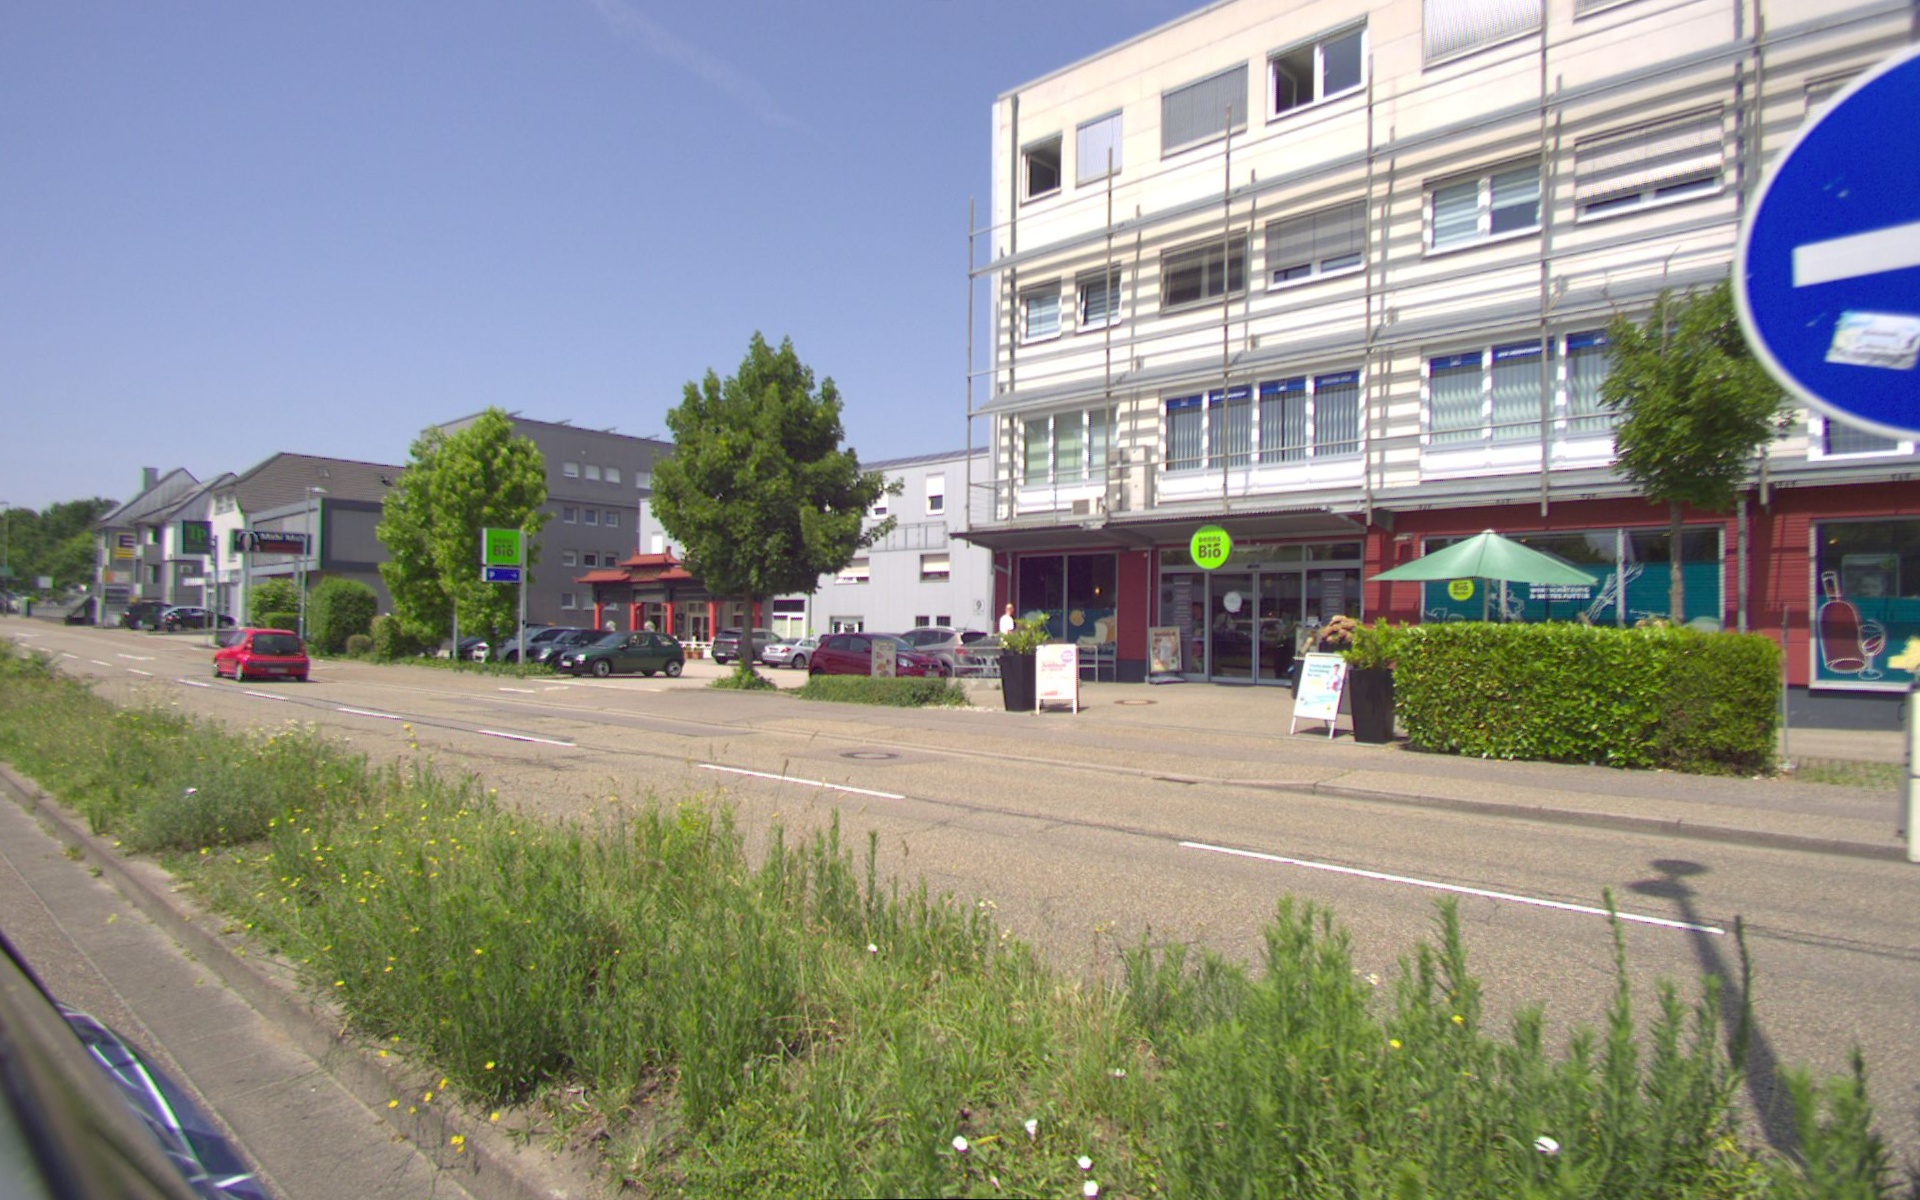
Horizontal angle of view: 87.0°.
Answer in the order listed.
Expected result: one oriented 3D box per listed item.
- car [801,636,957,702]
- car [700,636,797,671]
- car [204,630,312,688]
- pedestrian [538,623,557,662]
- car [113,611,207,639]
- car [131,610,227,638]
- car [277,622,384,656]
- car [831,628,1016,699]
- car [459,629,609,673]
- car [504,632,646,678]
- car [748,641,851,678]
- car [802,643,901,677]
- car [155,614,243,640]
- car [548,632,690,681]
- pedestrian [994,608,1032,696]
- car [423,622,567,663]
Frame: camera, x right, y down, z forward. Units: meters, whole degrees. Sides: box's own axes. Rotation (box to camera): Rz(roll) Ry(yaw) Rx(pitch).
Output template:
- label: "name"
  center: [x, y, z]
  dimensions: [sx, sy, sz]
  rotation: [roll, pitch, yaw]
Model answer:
- label: "car"
  center: [-2.062, 1.693, 25.209]
  dimensions: [3.795, 1.478, 1.642]
  rotation: [-1, -5, 40]
- label: "car"
  center: [-9.362, 2.360, 45.006]
  dimensions: [1.959, 1.478, 3.937]
  rotation: [-1, -2, 35]
- label: "car"
  center: [-19.455, 1.614, 28.020]
  dimensions: [3.449, 1.435, 1.613]
  rotation: [0, -3, 41]
- label: "pedestrian"
  center: [-18.340, 1.884, 44.995]
  dimensions: [0.624, 1.669, 0.540]
  rotation: [1, 0, 39]
- label: "car"
  center: [-52.710, 1.618, 66.776]
  dimensions: [1.852, 1.639, 4.560]
  rotation: [0, 2, 40]
- label: "car"
  center: [-50.658, 1.507, 65.748]
  dimensions: [1.747, 1.508, 4.571]
  rotation: [0, 2, 32]
- label: "car"
  center: [-29.571, 1.821, 47.610]
  dimensions: [1.572, 1.470, 3.952]
  rotation: [1, -1, 35]
- label: "car"
  center: [-1.070, 1.692, 27.546]
  dimensions: [5.162, 1.747, 1.741]
  rotation: [-1, -5, 40]
- label: "car"
  center: [-14.163, 1.727, 33.834]
  dimensions: [1.979, 1.359, 4.181]
  rotation: [-1, -4, 39]
- label: "car"
  center: [-12.217, 1.761, 32.274]
  dimensions: [1.858, 1.344, 3.800]
  rotation: [-1, -4, 39]
- label: "car"
  center: [-6.744, 2.535, 42.903]
  dimensions: [2.070, 1.478, 3.936]
  rotation: [-1, -4, 38]
- label: "car"
  center: [-4.373, 2.423, 41.275]
  dimensions: [1.859, 1.295, 3.799]
  rotation: [-1, -3, 40]
- label: "car"
  center: [-48.322, 1.710, 64.307]
  dimensions: [1.997, 1.532, 4.018]
  rotation: [0, -2, 37]
- label: "car"
  center: [-10.184, 1.697, 30.369]
  dimensions: [1.779, 1.375, 3.619]
  rotation: [-1, -4, 41]
- label: "pedestrian"
  center: [1.150, 1.125, 21.934]
  dimensions: [0.498, 1.881, 0.668]
  rotation: [-2, -3, 41]
- label: "car"
  center: [-16.316, 1.528, 35.649]
  dimensions: [2.040, 1.352, 4.108]
  rotation: [-1, -4, 38]
